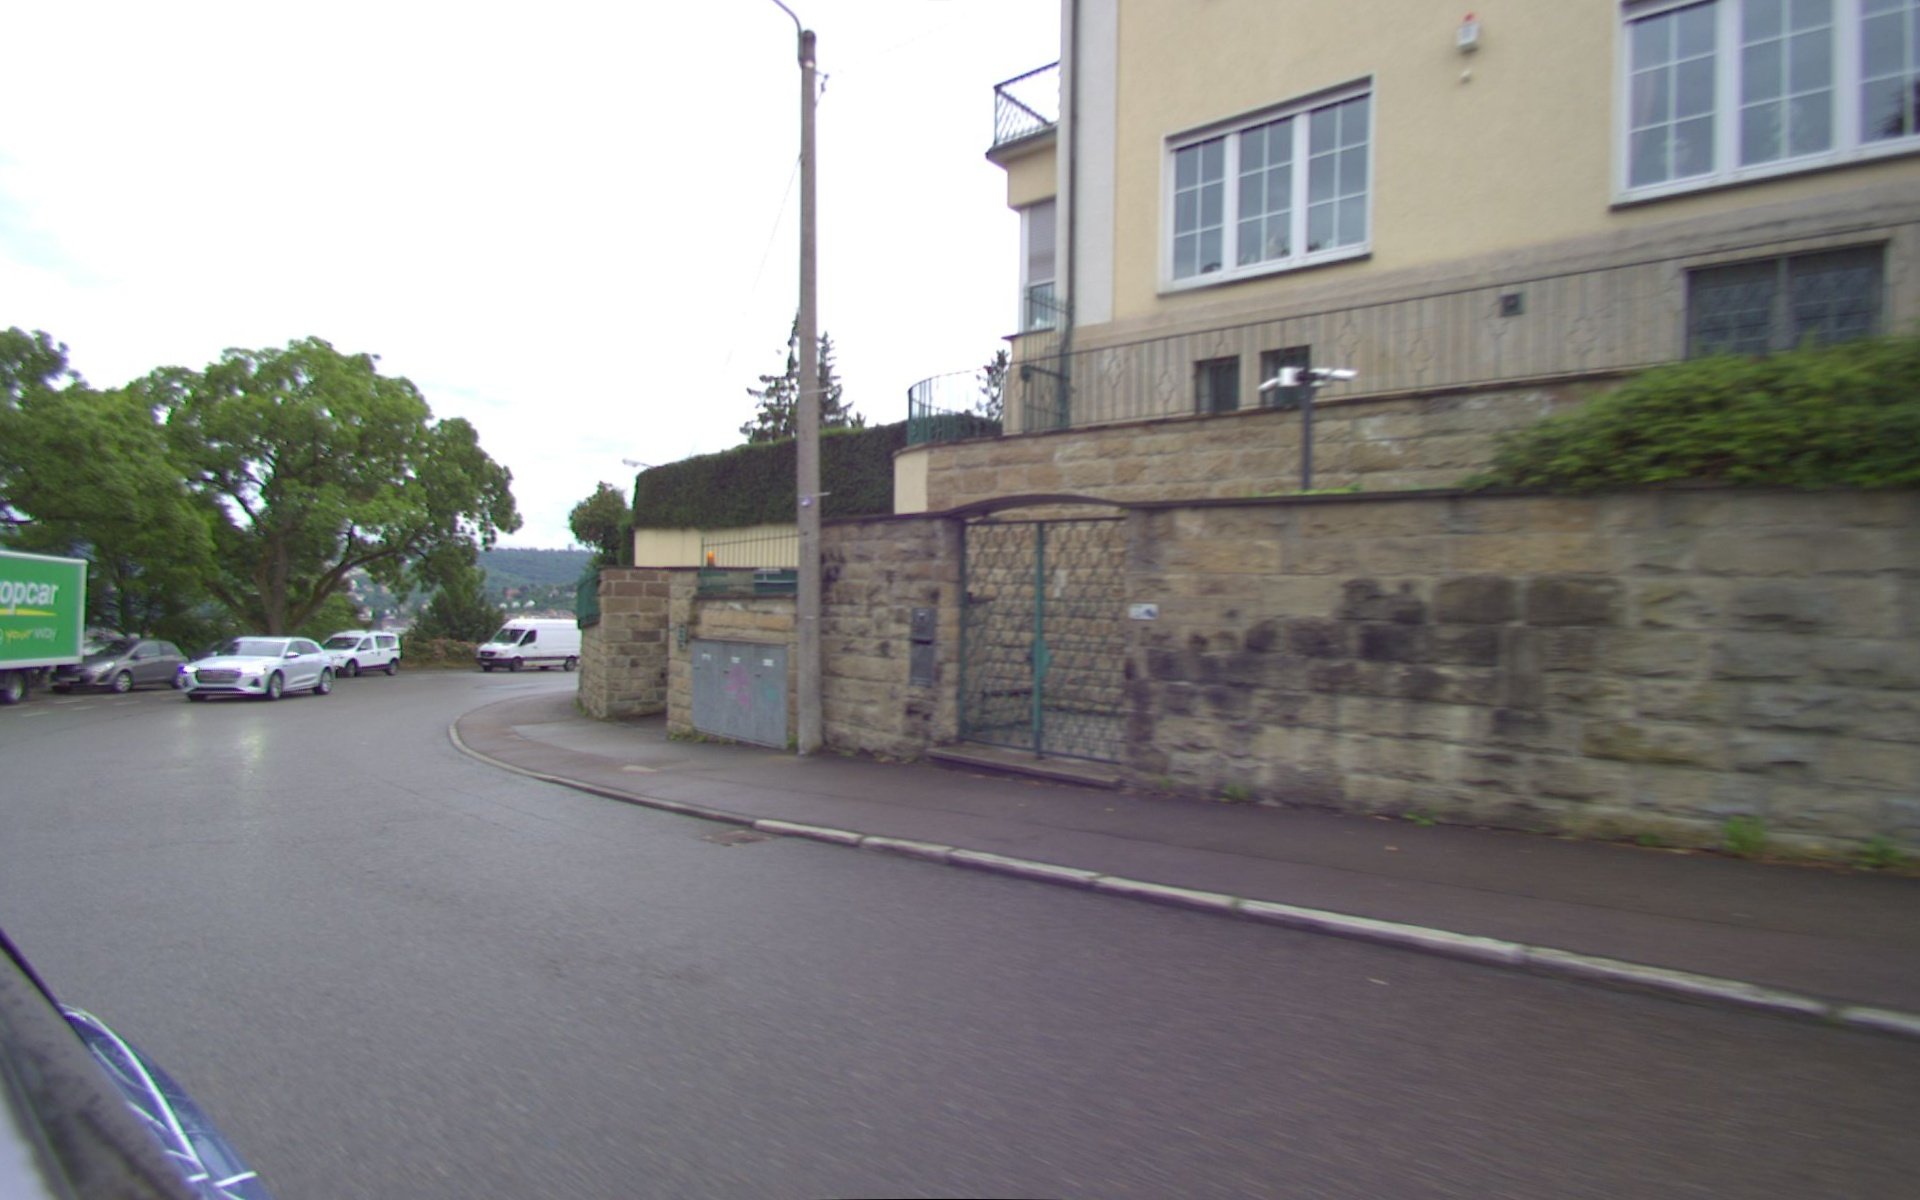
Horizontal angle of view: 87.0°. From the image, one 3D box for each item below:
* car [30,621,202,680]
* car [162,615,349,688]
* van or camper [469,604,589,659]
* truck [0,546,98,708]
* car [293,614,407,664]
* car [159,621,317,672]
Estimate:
[{"bbox_3d":[-23.765,1.436,28.712,1.712,1.515,4.141,2,-3,-7],"label":"car"},{"bbox_3d":[-18.677,1.339,27.167,2.157,1.721,4.892,2,-2,-9],"label":"car"},{"bbox_3d":[-21.596,1.593,51.060,2.059,2.600,5.846,0,-2,21],"label":"van or camper"},{"bbox_3d":[-21.809,0.507,20.849,2.735,3.497,8.960,3,-3,-17],"label":"truck"},{"bbox_3d":[-24.107,1.572,40.190,1.728,1.835,4.421,2,-3,1],"label":"car"},{"bbox_3d":[-24.313,1.592,34.347,1.840,1.554,4.893,1,-3,0],"label":"car"}]
